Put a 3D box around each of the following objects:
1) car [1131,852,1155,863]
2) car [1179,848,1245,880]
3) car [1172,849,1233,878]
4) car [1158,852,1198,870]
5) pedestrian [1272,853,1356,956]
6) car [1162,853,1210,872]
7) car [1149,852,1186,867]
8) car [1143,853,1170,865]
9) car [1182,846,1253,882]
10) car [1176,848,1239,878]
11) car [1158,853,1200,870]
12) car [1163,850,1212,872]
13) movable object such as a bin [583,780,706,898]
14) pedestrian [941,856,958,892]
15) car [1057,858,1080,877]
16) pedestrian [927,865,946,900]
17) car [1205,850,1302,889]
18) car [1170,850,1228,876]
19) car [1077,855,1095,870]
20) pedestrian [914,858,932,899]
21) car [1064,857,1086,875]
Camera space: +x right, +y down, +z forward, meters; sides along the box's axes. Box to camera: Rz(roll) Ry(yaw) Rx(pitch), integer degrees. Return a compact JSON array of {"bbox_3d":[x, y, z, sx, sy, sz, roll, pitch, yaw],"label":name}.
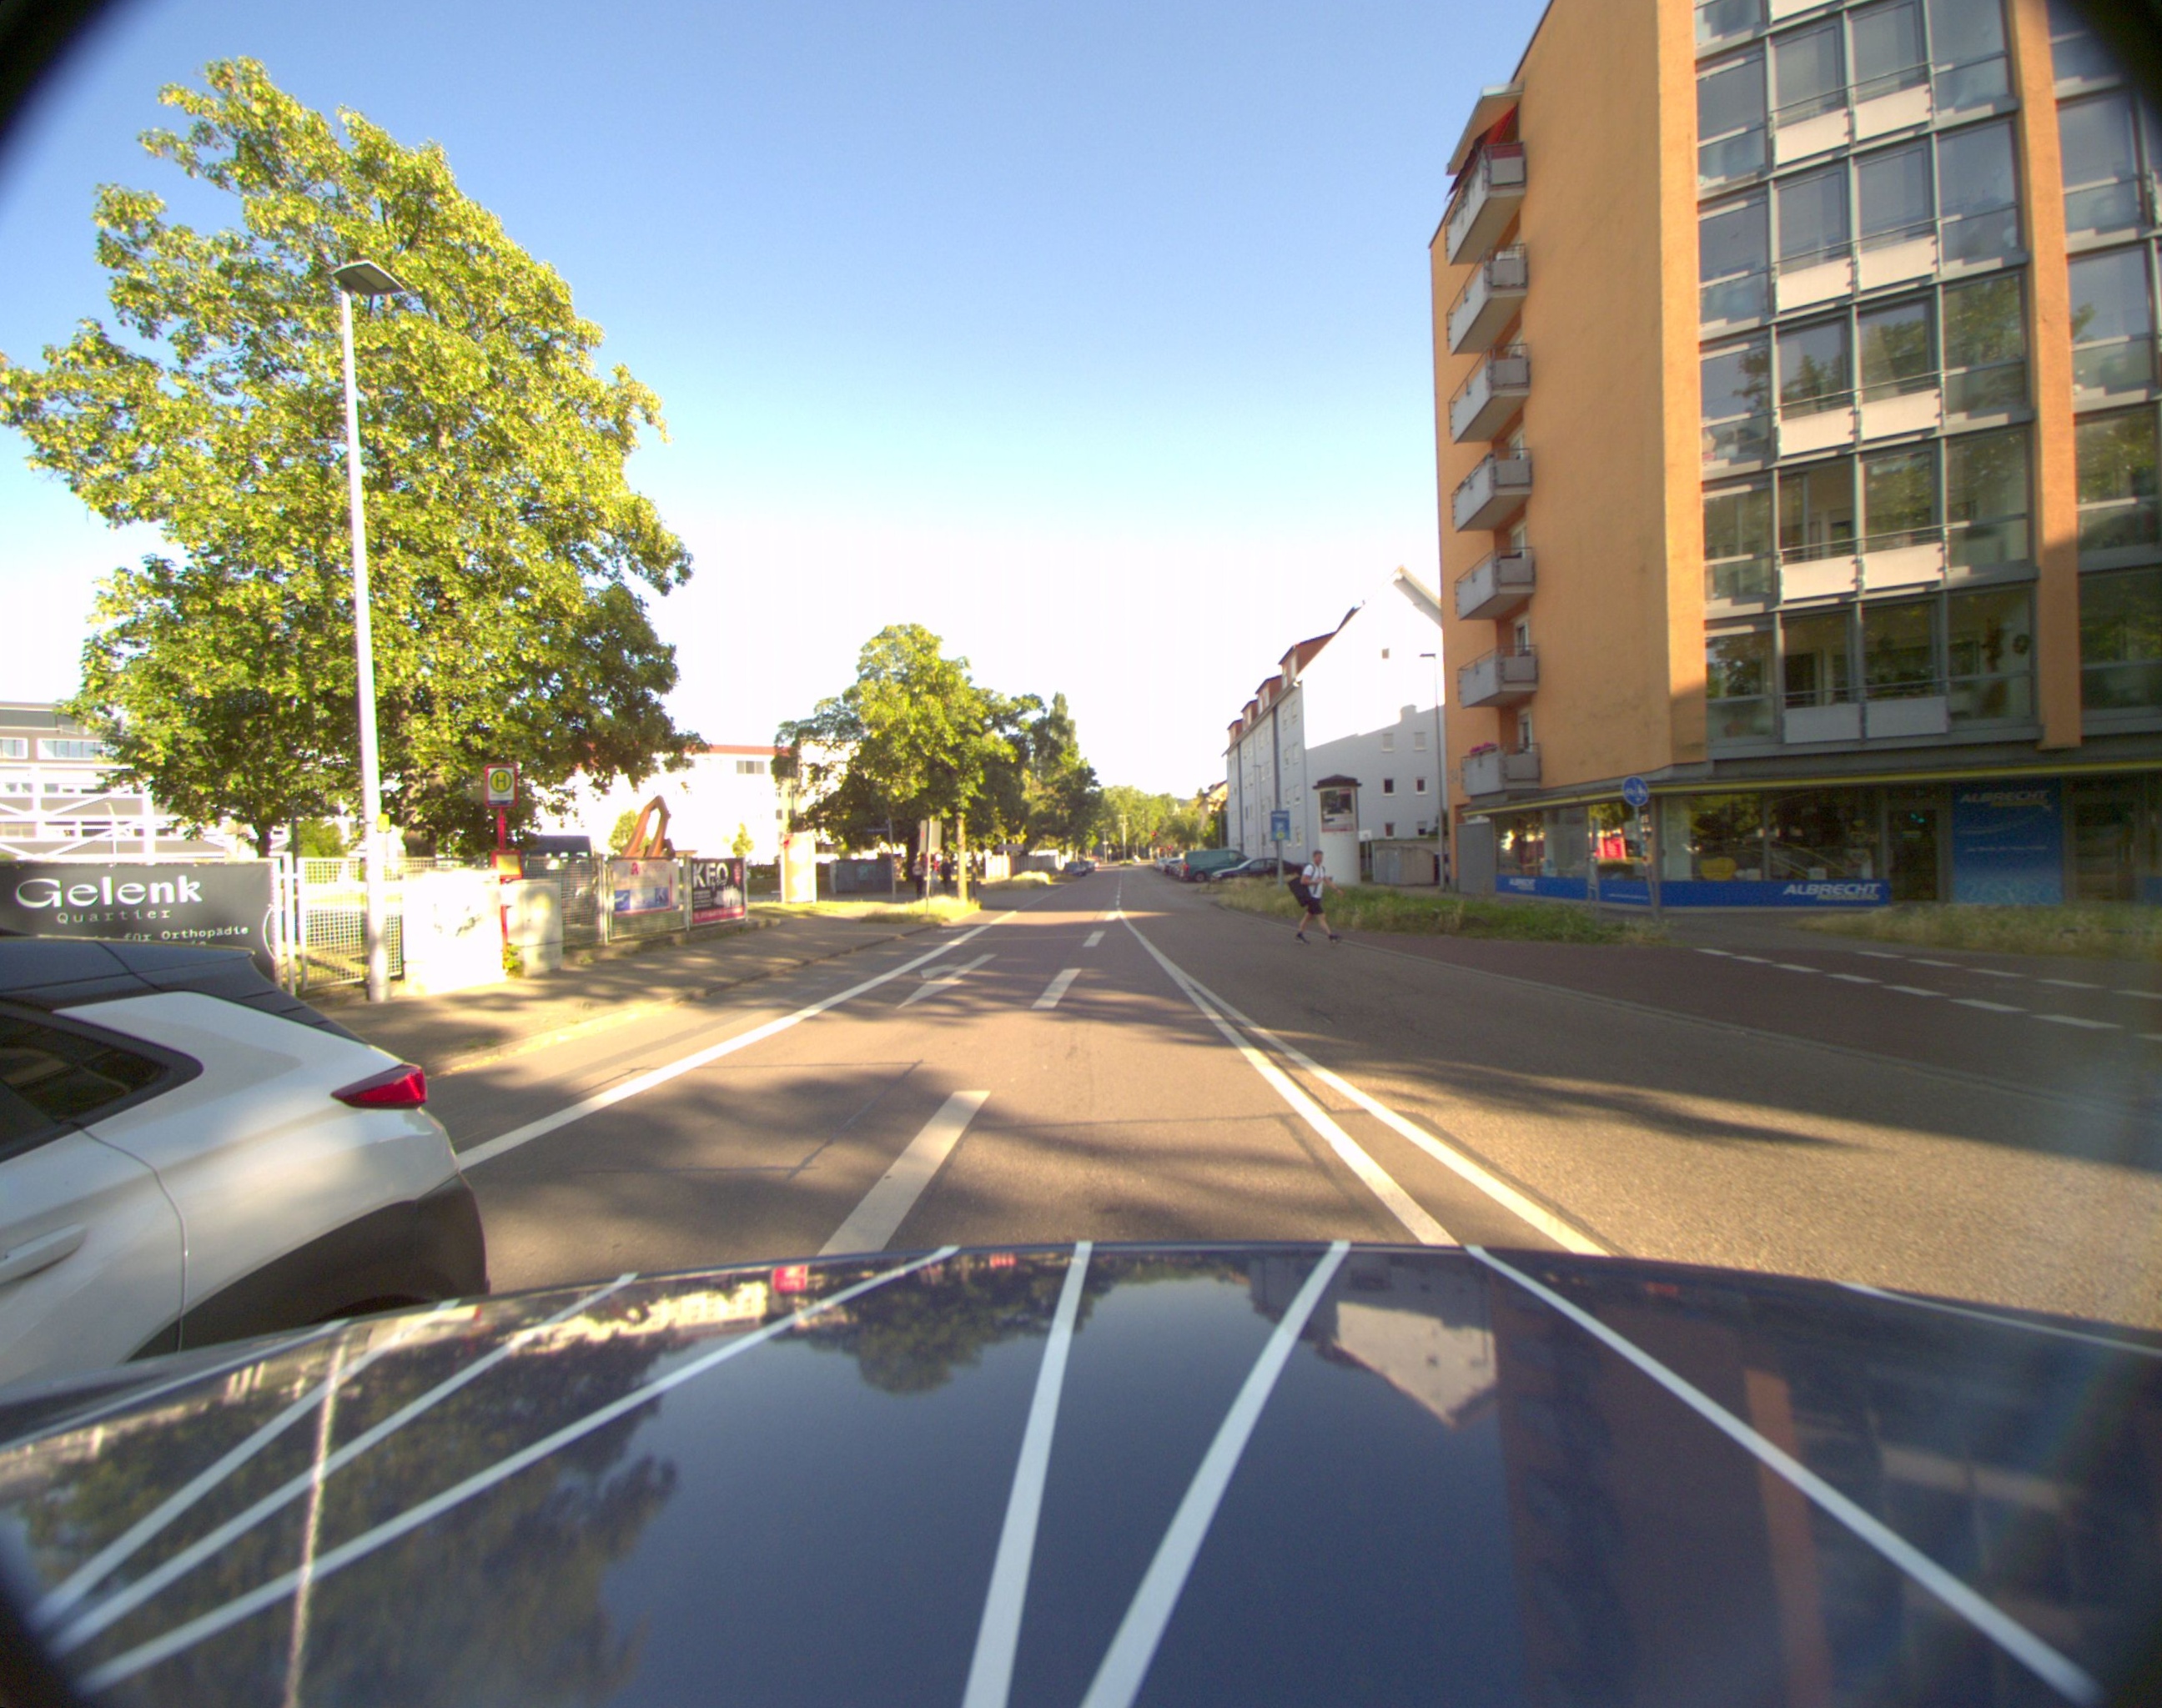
[{"bbox_3d":[9.684,0.582,118.231,3.538,1.564,1.867,-2,1,5],"label":"car"},{"bbox_3d":[8.344,0.620,48.595,3.995,1.805,2.000,-2,1,5],"label":"car"},{"bbox_3d":[8.558,0.665,53.701,4.059,1.805,1.937,-2,1,5],"label":"car"},{"bbox_3d":[10.244,0.720,80.074,4.071,1.741,1.899,-2,1,5],"label":"car"},{"bbox_3d":[4.160,0.863,13.632,0.903,1.727,1.086,-3,1,-21],"label":"pedestrian"},{"bbox_3d":[9.554,0.769,69.382,4.257,1.564,1.867,-2,1,5],"label":"car"},{"bbox_3d":[10.207,0.640,90.198,4.257,1.564,1.867,-2,1,5],"label":"car"},{"bbox_3d":[10.449,0.698,105.250,3.538,1.564,1.867,-2,1,5],"label":"car"},{"bbox_3d":[8.182,0.591,45.947,3.996,1.936,2.000,-2,1,4],"label":"car"},{"bbox_3d":[8.488,0.584,51.350,3.995,1.805,2.000,-2,1,5],"label":"car"},{"bbox_3d":[10.292,0.751,79.939,4.257,1.564,1.867,-2,1,5],"label":"car"},{"bbox_3d":[9.261,0.604,66.496,4.117,1.762,1.757,-2,1,5],"label":"car"},{"bbox_3d":[-22.240,-0.703,38.554,3.986,5.447,6.016,-3,1,-42],"label":"movable object such as a bin"},{"bbox_3d":[-6.268,0.953,36.271,0.696,1.659,0.638,-2,1,-11],"label":"pedestrian"},{"bbox_3d":[-1.104,1.214,69.602,1.998,1.521,3.999,-2,1,1],"label":"car"},{"bbox_3d":[-6.008,1.176,31.651,0.609,1.426,0.639,-2,1,1],"label":"pedestrian"},{"bbox_3d":[8.287,0.729,36.882,4.423,1.652,2.001,-2,1,9],"label":"car"},{"bbox_3d":[8.735,0.659,56.445,4.071,1.741,1.899,-2,1,5],"label":"car"},{"bbox_3d":[0.553,0.946,87.983,1.998,1.521,3.999,-2,1,1],"label":"car"},{"bbox_3d":[-6.743,1.032,32.387,0.609,1.727,0.638,-2,1,-5],"label":"pedestrian"},{"bbox_3d":[-0.601,1.146,73.950,1.998,1.521,3.999,-2,1,1],"label":"car"}]
